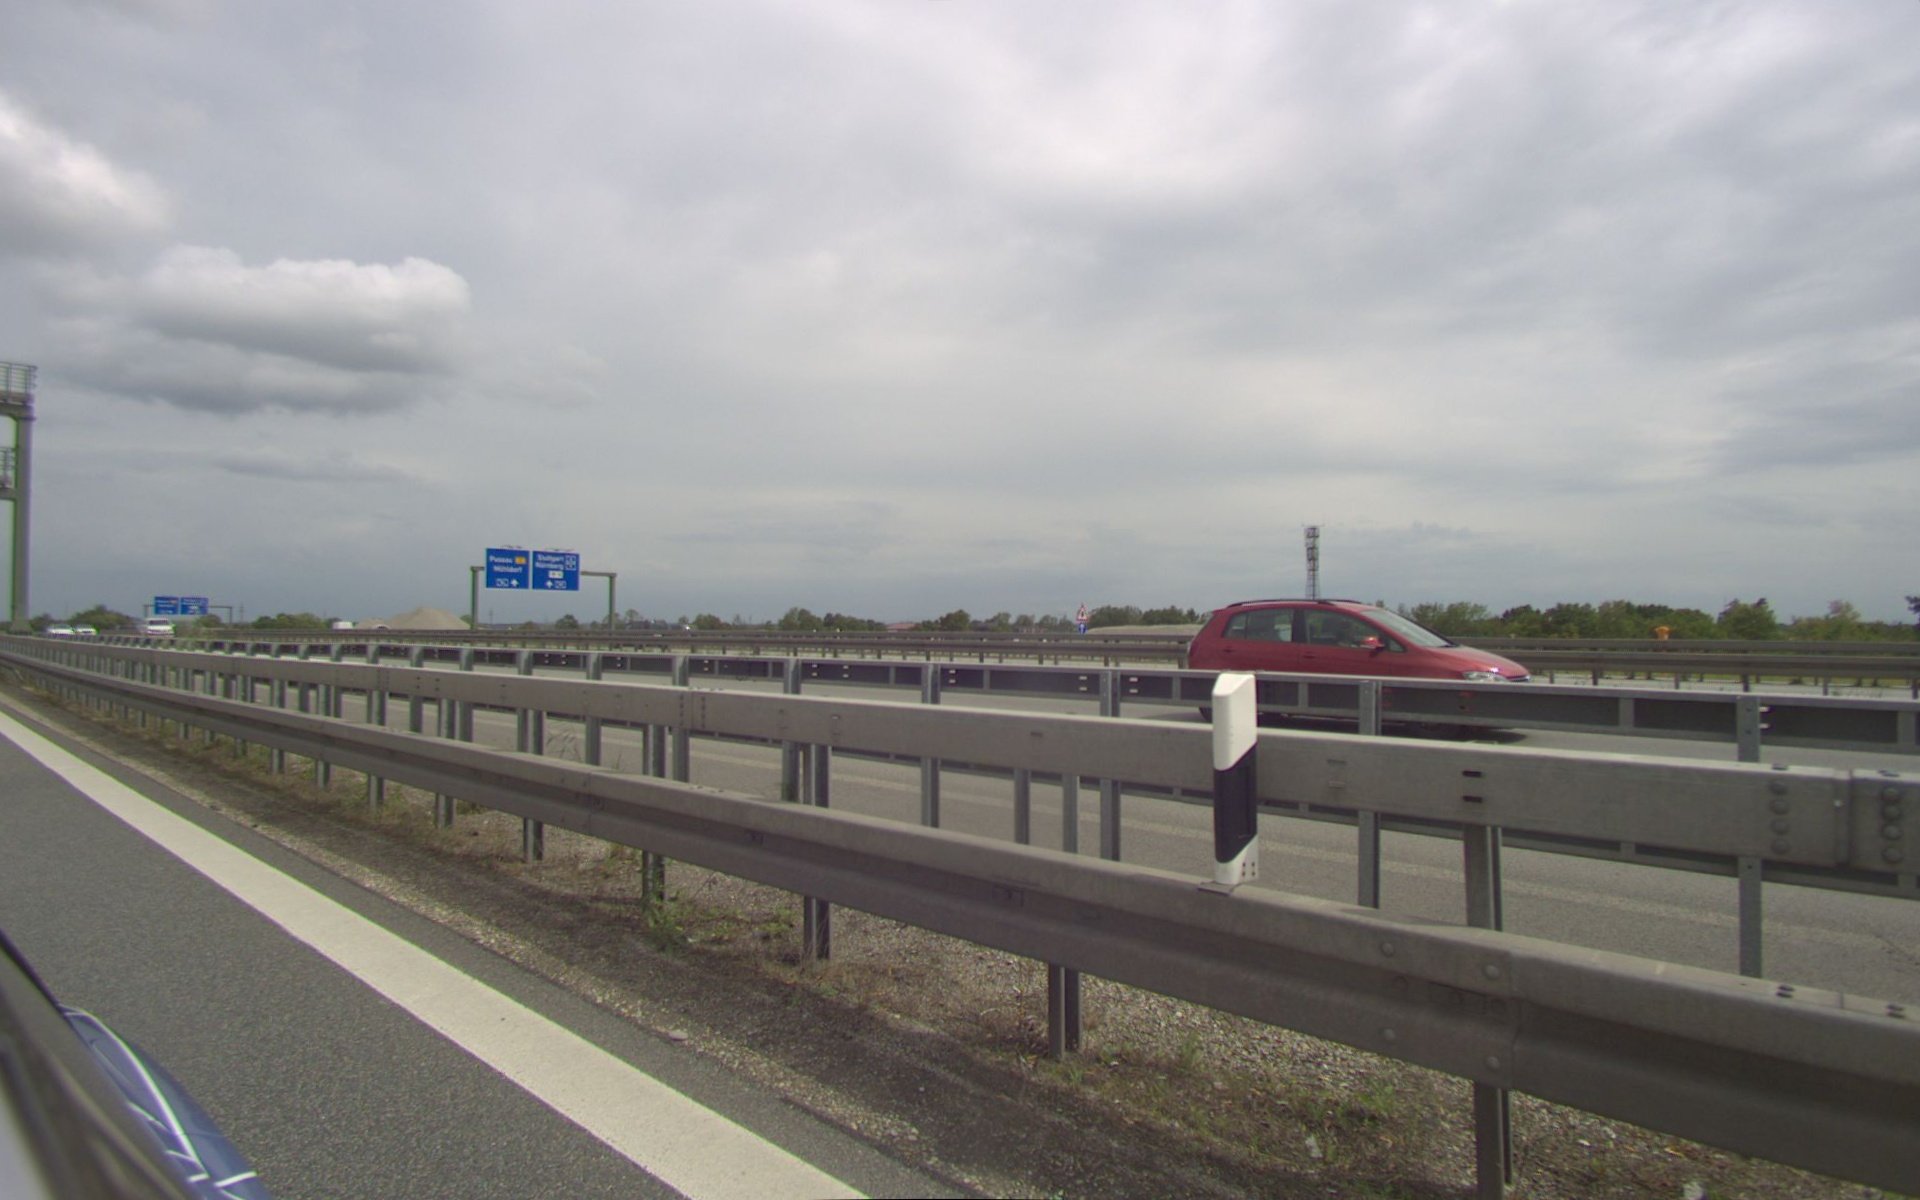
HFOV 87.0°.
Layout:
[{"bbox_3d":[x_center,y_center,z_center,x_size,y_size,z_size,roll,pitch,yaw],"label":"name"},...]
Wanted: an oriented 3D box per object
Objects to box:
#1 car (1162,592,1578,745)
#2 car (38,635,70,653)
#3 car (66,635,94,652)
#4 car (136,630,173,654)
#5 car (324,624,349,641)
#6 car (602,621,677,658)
[{"bbox_3d":[4.866,0.774,12.416,4.353,1.557,1.800,-3,-2,42],"label":"car"},{"bbox_3d":[-93.887,4.577,104.878,3.998,1.763,1.973,-3,-2,41],"label":"car"},{"bbox_3d":[-103.610,5.112,119.177,3.998,1.896,1.973,-3,-2,41],"label":"car"},{"bbox_3d":[-71.334,3.723,89.648,4.466,2.029,1.971,-3,-2,43],"label":"car"},{"bbox_3d":[-89.783,4.740,145.699,4.490,2.323,1.972,-3,-2,43],"label":"car"},{"bbox_3d":[-17.992,2.200,56.733,4.504,1.876,1.972,-2,1,43],"label":"car"}]
